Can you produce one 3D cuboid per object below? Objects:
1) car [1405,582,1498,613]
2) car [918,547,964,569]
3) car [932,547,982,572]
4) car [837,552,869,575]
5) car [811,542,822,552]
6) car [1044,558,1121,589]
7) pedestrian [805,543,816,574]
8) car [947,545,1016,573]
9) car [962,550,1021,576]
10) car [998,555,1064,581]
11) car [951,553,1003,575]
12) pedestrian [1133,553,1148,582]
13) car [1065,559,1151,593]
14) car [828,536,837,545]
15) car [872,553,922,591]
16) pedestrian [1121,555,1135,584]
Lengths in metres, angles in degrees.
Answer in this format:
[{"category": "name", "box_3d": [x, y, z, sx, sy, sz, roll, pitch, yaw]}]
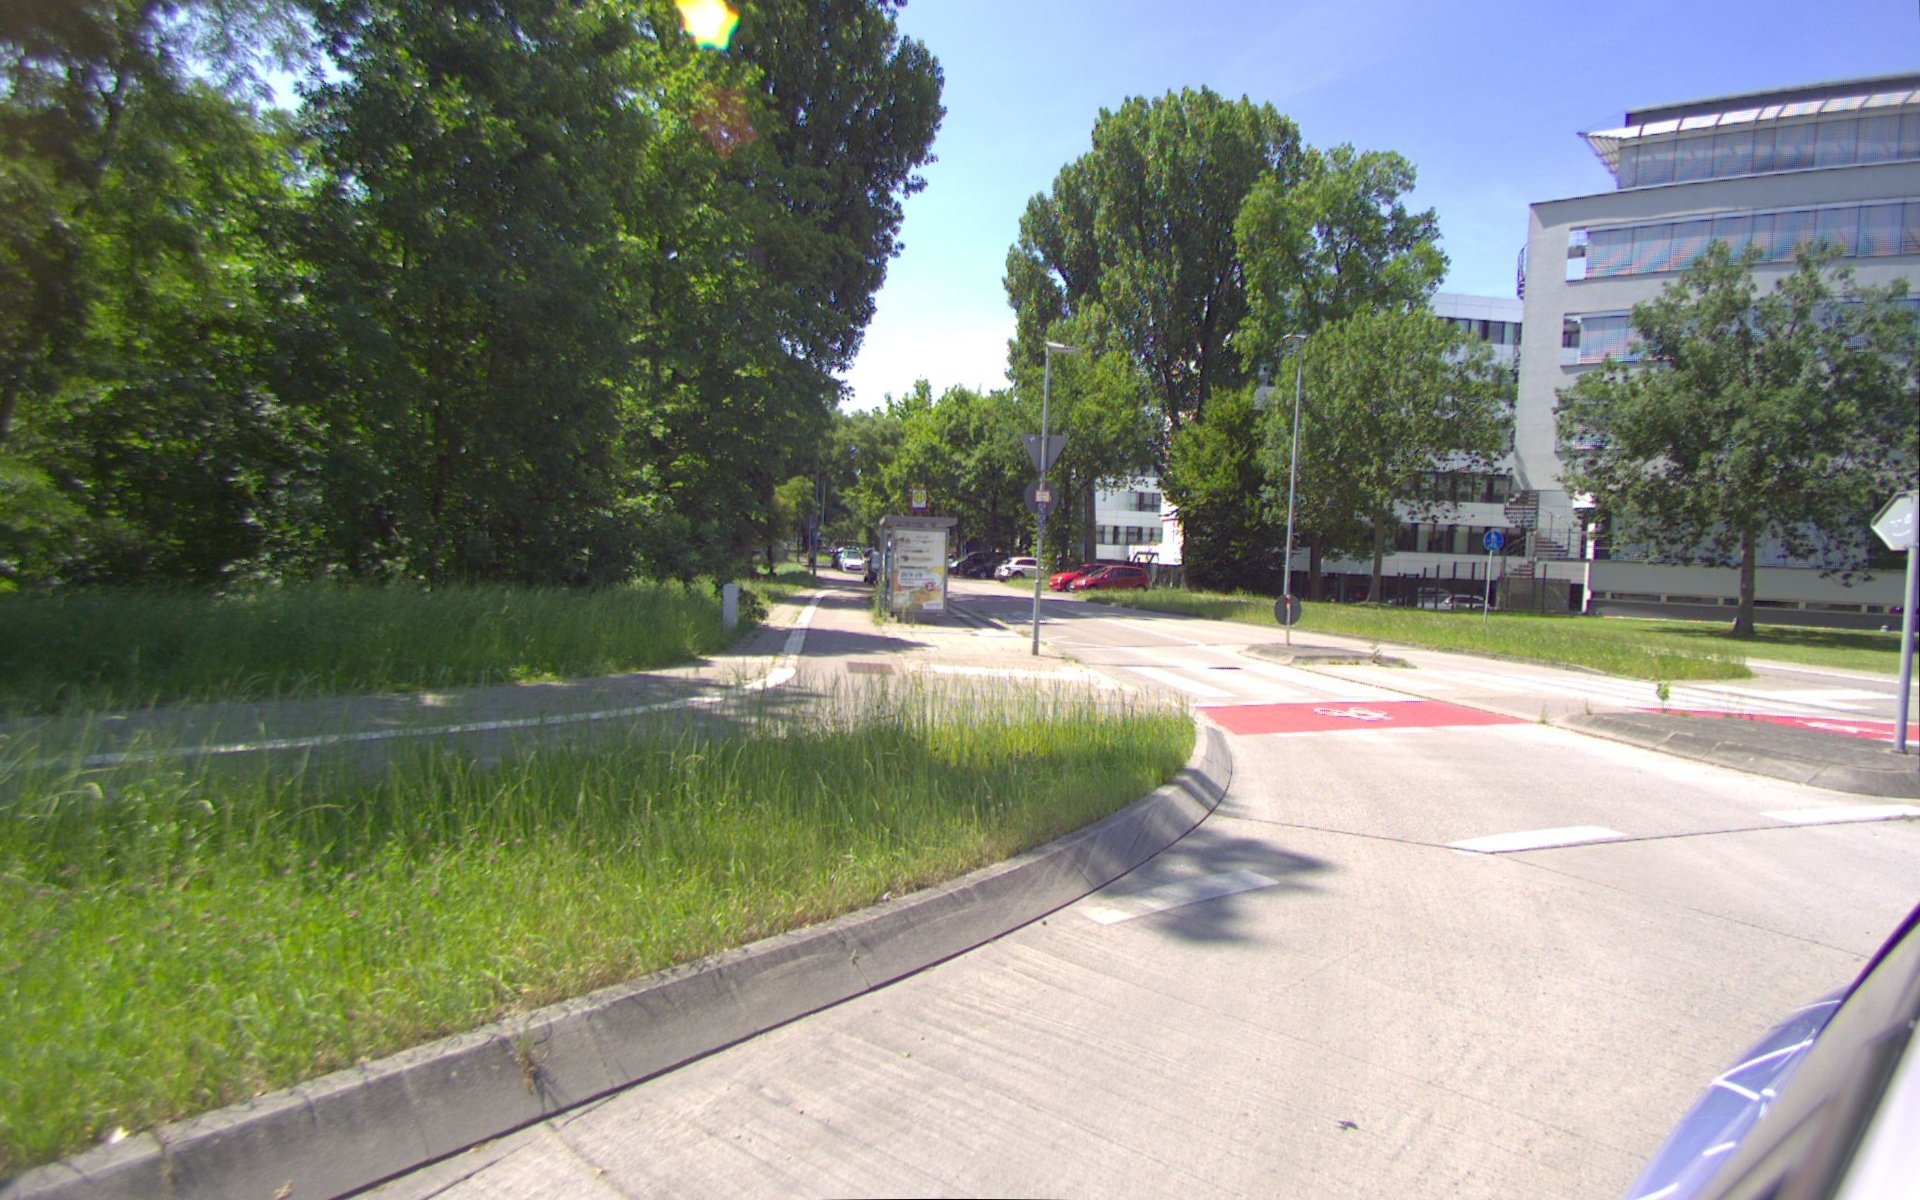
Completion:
[{"category": "car", "box_3d": [26.992, -0.140, 55.597, 4.266, 1.588, 1.858, 1, 2, -11]}, {"category": "car", "box_3d": [-1.729, -3.821, 91.813, 3.916, 1.895, 1.688, 1, 2, -12]}, {"category": "car", "box_3d": [-0.288, -3.497, 87.480, 3.917, 2.038, 2.004, 1, 2, -11]}, {"category": "car", "box_3d": [-7.500, -2.540, 70.517, 1.959, 1.487, 4.008, 1, 2, -9]}, {"category": "car", "box_3d": [-26.252, -9.648, 185.206, 1.879, 1.704, 4.007, 1, 2, -8]}, {"category": "car", "box_3d": [6.482, -1.413, 53.627, 3.607, 1.501, 1.873, 1, 2, -14]}, {"category": "pedestrian", "box_3d": [-9.691, -2.691, 65.557, 0.587, 2.038, 0.604, 1, 2, -16]}, {"category": "car", "box_3d": [1.683, -3.226, 79.973, 5.204, 2.009, 1.764, 1, 2, -11]}, {"category": "car", "box_3d": [2.228, -2.670, 73.025, 3.917, 1.727, 1.764, 1, 2, -11]}, {"category": "car", "box_3d": [4.415, -2.002, 63.376, 3.707, 1.535, 1.817, 1, 2, -11]}, {"category": "car", "box_3d": [1.275, -2.755, 77.786, 3.696, 1.588, 1.764, 1, 2, -11]}, {"category": "pedestrian", "box_3d": [10.313, -1.882, 57.915, 0.560, 1.628, 0.645, 1, 2, -24]}, {"category": "car", "box_3d": [7.090, -1.171, 48.610, 3.607, 1.501, 1.873, 1, 2, -14]}, {"category": "car", "box_3d": [-28.537, -13.279, 226.968, 1.803, 1.838, 3.749, 1, 2, -6]}, {"category": "car", "box_3d": [-2.867, -1.274, 45.382, 1.668, 1.504, 4.009, 4, 2, -11]}, {"category": "pedestrian", "box_3d": [9.582, -1.721, 57.614, 0.576, 1.636, 0.487, 1, 2, -23]}]
